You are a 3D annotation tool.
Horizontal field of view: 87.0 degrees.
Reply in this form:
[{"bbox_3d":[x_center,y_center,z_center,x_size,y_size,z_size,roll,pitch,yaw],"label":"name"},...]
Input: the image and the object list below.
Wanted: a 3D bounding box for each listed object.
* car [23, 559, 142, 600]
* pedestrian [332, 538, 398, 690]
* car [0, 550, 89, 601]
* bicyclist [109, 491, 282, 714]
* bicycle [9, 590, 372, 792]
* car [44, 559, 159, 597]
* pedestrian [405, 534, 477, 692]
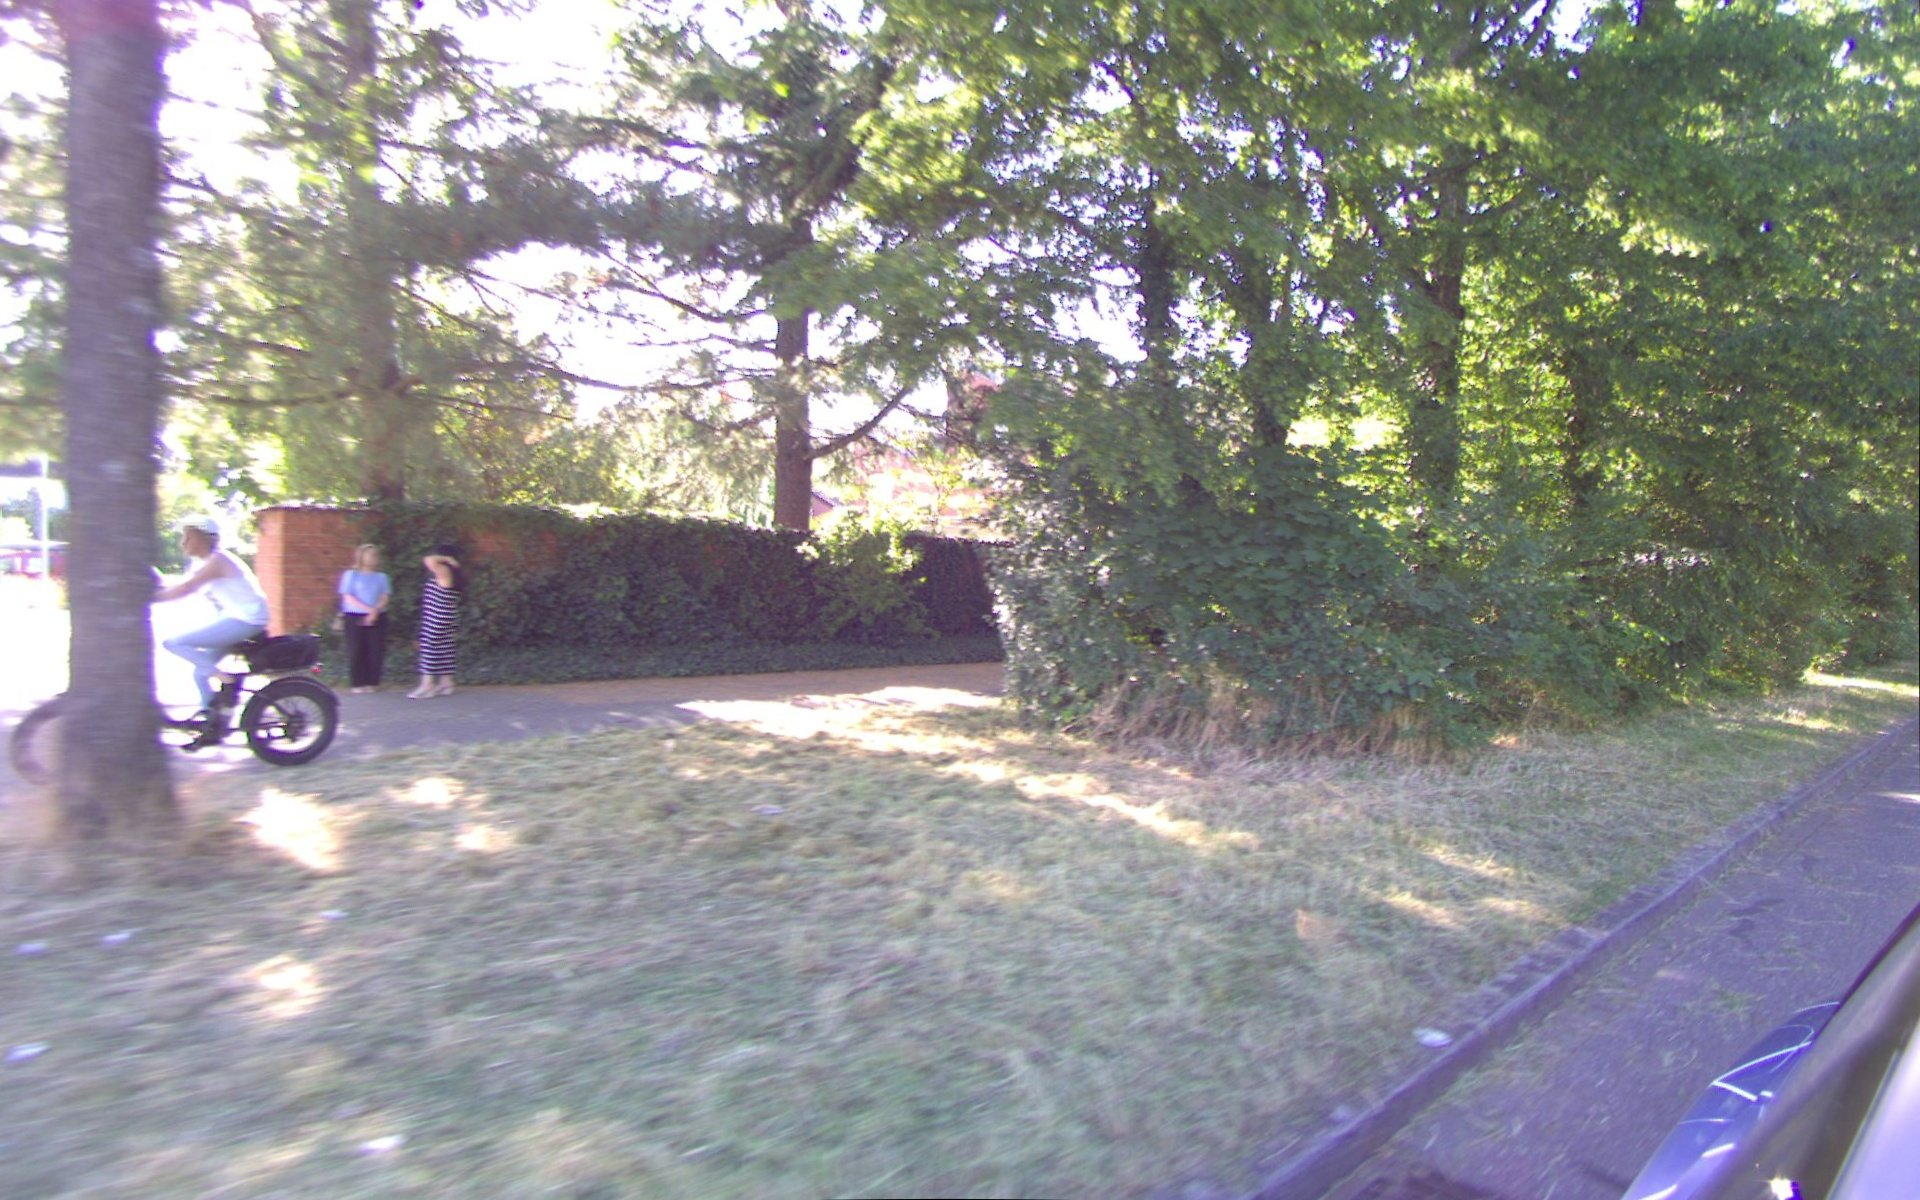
[{"bbox_3d":[-33.078,-0.790,38.261,3.334,1.459,1.614,-1,2,-40],"label":"car"},{"bbox_3d":[-6.210,0.133,10.562,0.529,1.539,0.395,0,2,-42],"label":"pedestrian"},{"bbox_3d":[-32.707,-0.865,35.017,1.739,1.738,3.603,2,2,36],"label":"car"},{"bbox_3d":[-5.055,0.000,6.701,0.636,1.364,0.825,2,2,44],"label":"bicyclist"},{"bbox_3d":[-5.020,0.527,6.722,0.457,1.159,1.868,2,1,44],"label":"bicycle"},{"bbox_3d":[-34.406,-0.894,40.663,3.473,1.433,1.679,-1,2,-40],"label":"car"},{"bbox_3d":[-5.375,0.121,10.487,0.392,1.580,0.533,2,2,28],"label":"pedestrian"}]
